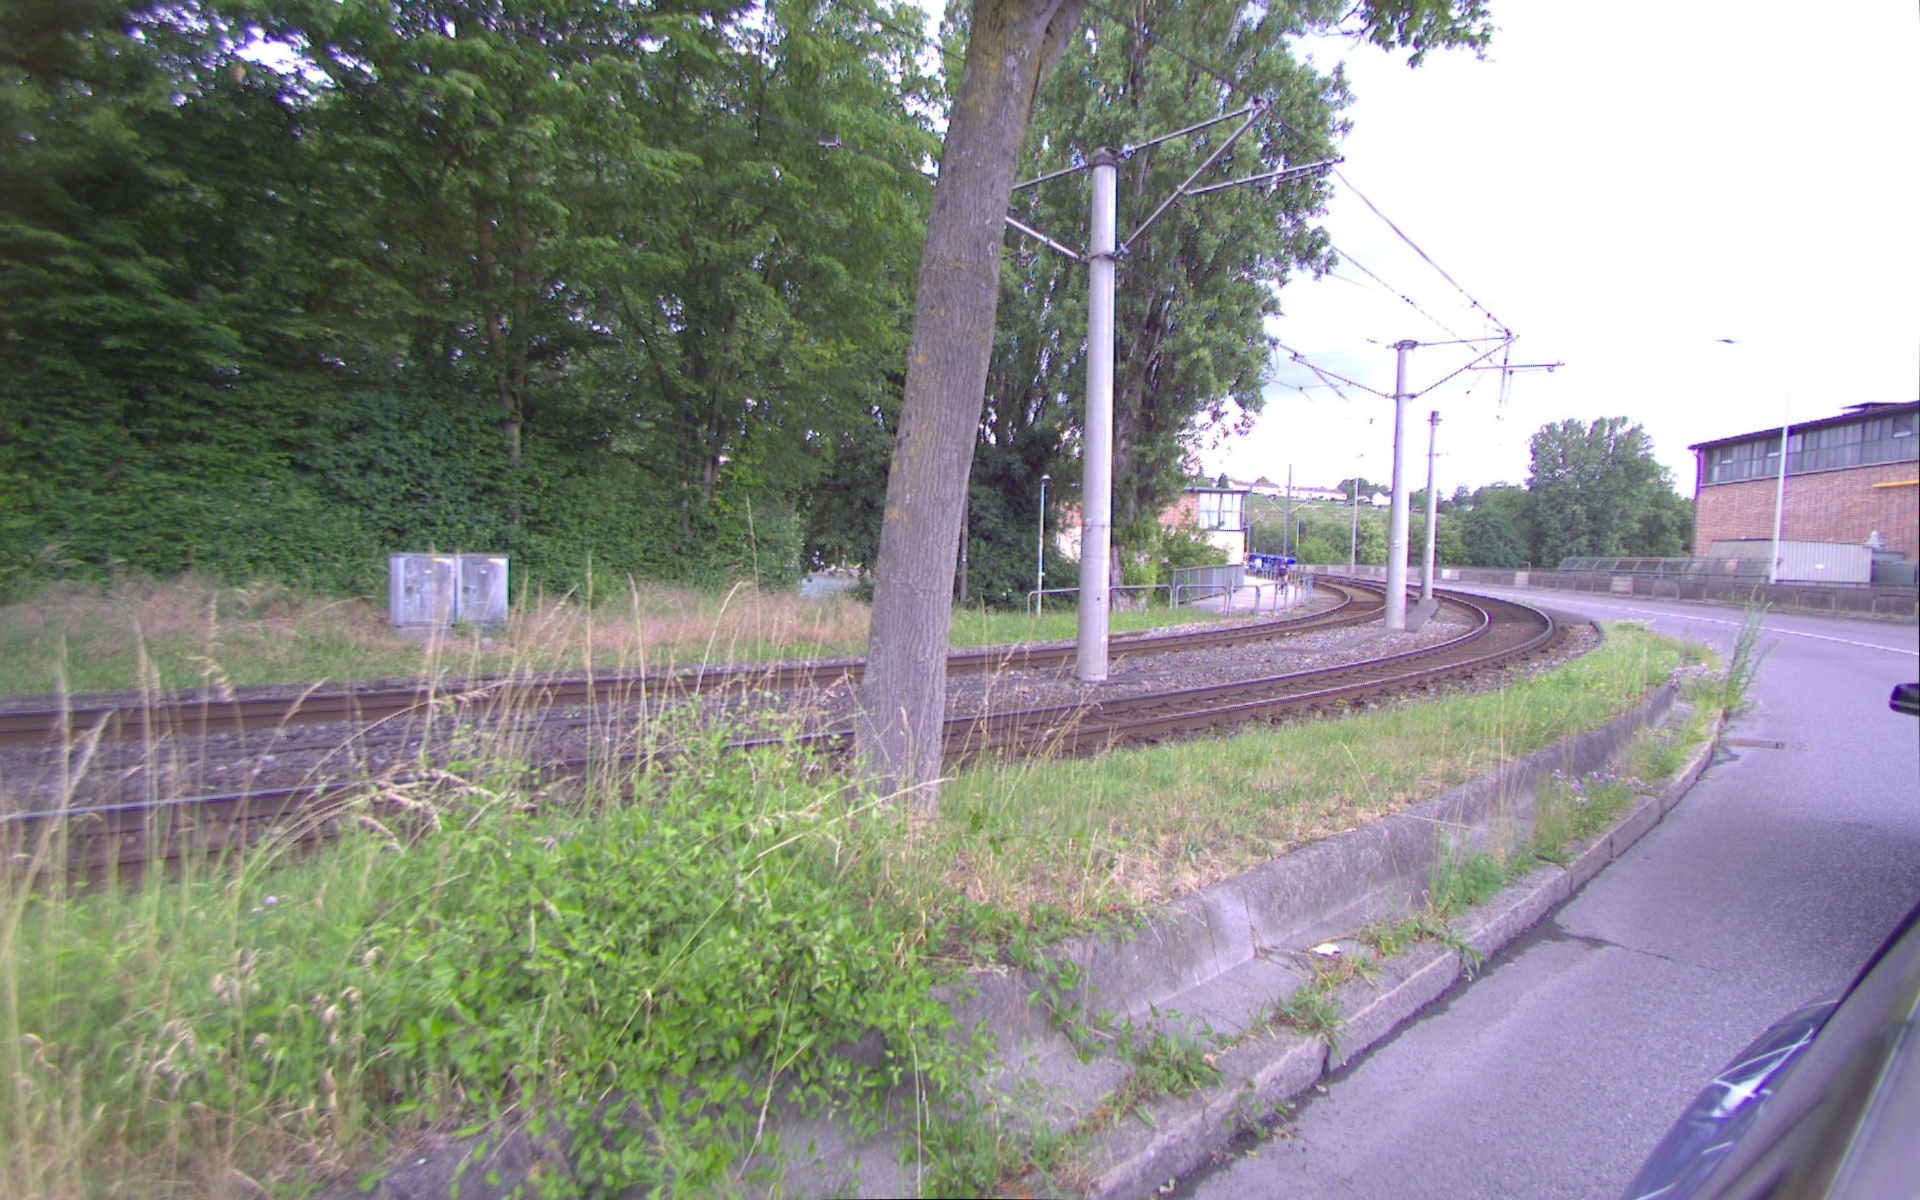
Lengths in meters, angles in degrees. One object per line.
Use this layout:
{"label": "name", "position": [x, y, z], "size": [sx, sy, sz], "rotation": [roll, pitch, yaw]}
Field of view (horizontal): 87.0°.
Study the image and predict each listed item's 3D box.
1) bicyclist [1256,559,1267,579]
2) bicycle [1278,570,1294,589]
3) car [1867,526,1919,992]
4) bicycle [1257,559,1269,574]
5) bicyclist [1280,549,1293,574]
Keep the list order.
{"label": "bicyclist", "position": [21.168, -2.173, 70.967], "size": [0.585, 1.377, 0.909], "rotation": [0, 1, 7]}
{"label": "bicycle", "position": [14.288, -0.907, 44.329], "size": [0.345, 0.804, 1.531], "rotation": [2, 2, 30]}
{"label": "car", "position": [5.369, 0.552, 4.282], "size": [3.933, 1.641, 1.859], "rotation": [-2, 4, -42]}
{"label": "bicycle", "position": [21.231, -2.337, 70.986], "size": [0.420, 1.063, 2.077], "rotation": [0, 1, 6]}
{"label": "bicyclist", "position": [14.290, -1.680, 44.294], "size": [0.414, 1.097, 0.469], "rotation": [2, 2, 30]}
